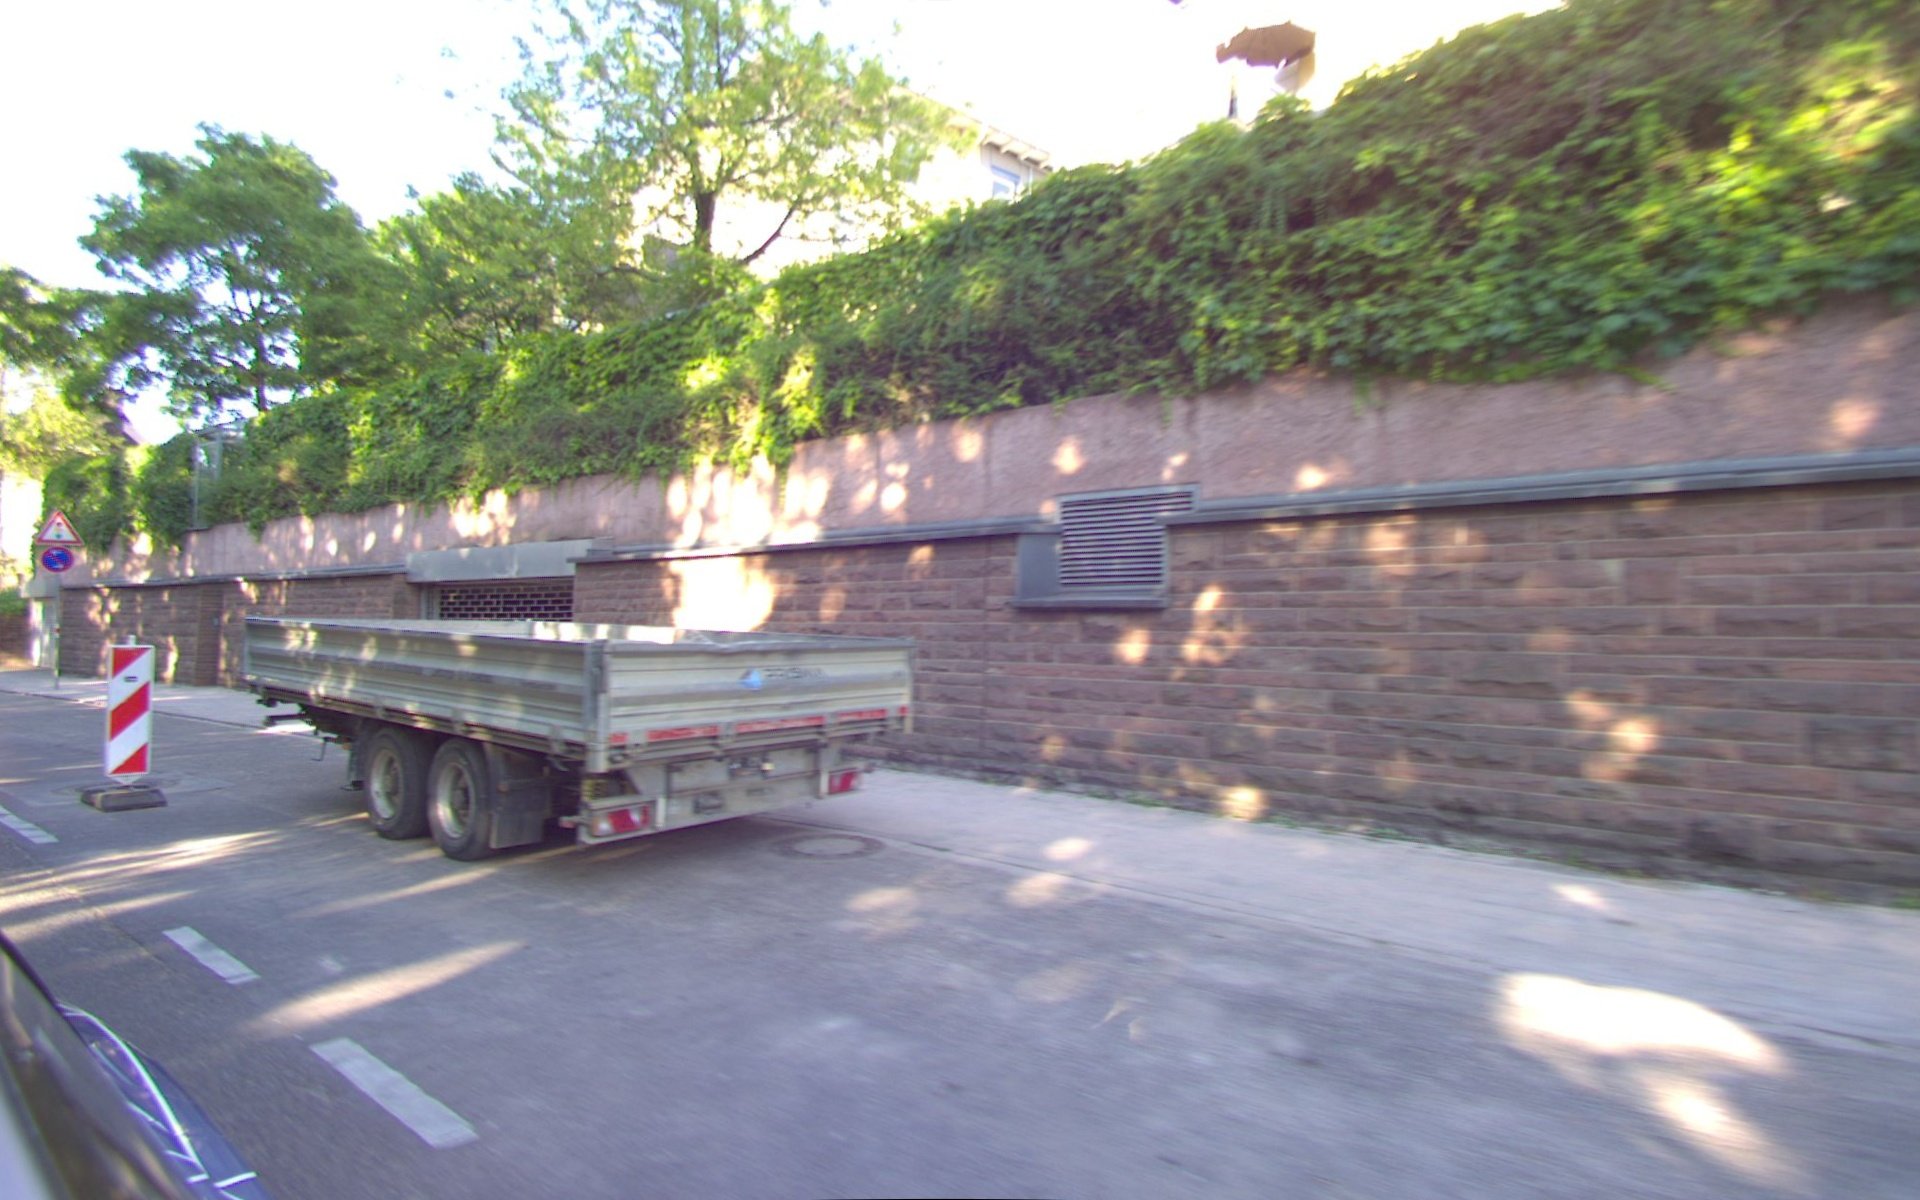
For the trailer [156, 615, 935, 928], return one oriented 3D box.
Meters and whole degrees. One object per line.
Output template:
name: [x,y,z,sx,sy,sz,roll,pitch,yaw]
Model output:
trailer: [-3.760,0.886,8.108,7.108,1.501,2.615,-1,-2,38]
